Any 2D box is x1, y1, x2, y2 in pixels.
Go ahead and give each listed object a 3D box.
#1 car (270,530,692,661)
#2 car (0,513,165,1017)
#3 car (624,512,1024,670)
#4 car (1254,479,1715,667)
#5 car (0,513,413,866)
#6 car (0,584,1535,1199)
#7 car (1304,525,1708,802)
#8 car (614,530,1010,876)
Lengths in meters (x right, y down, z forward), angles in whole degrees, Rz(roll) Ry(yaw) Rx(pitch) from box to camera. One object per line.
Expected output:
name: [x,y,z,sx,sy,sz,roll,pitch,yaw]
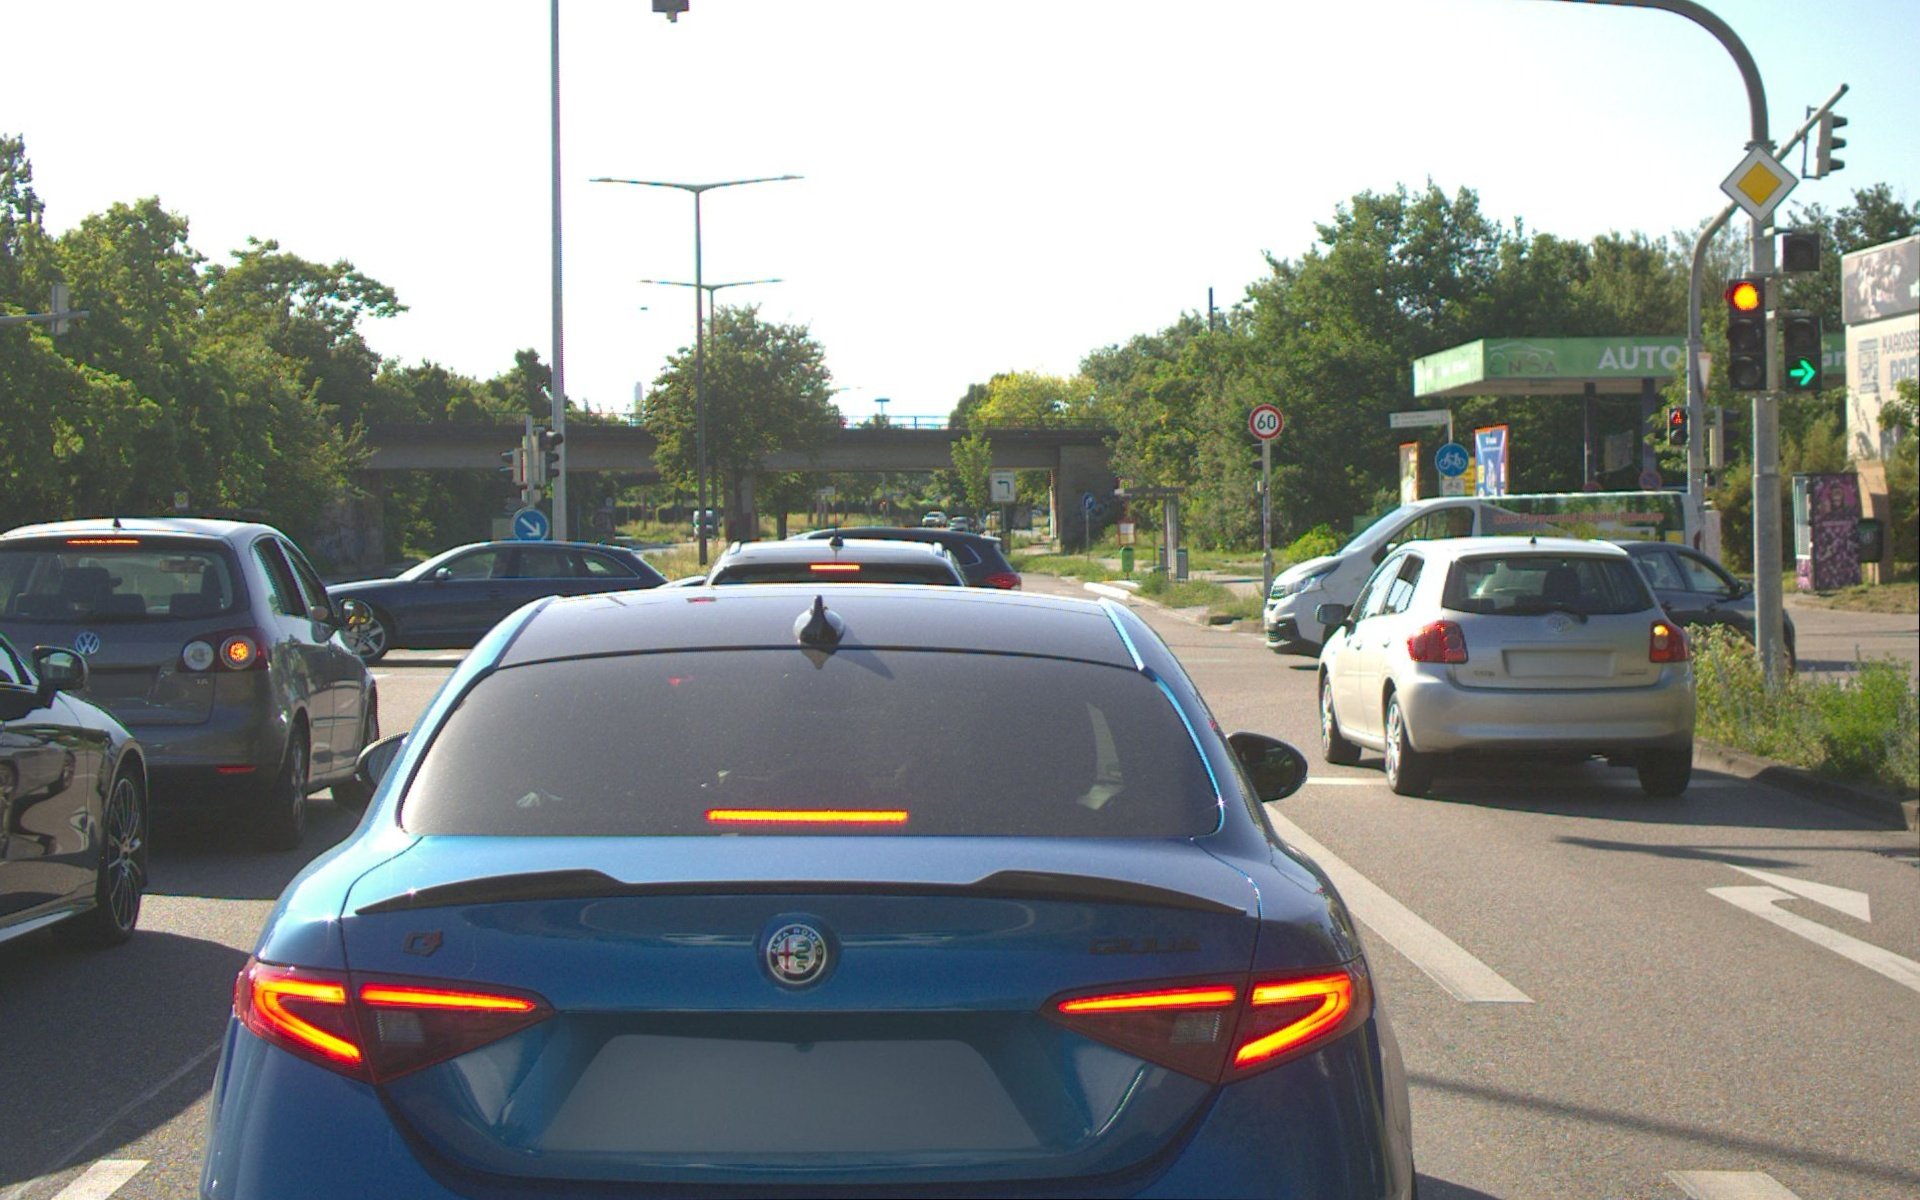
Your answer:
car: [-5.715,-0.051,40.864,4.817,1.463,1.759,1,0,-12]
car: [-3.849,0.498,10.651,1.812,1.546,4.544,0,1,-1]
car: [-1.482,-0.104,38.008,4.306,1.644,1.638,1,0,-1]
car: [5.961,-0.317,39.465,4.954,2.029,1.881,-1,1,-1]
car: [-3.962,0.374,17.417,1.812,1.546,4.354,1,1,-2]
car: [-0.221,0.701,6.117,1.910,1.418,3.719,1,0,1]
car: [3.288,0.316,21.455,1.783,1.531,4.108,1,1,-1]
car: [-0.626,0.436,16.956,1.704,1.492,3.719,1,0,1]
